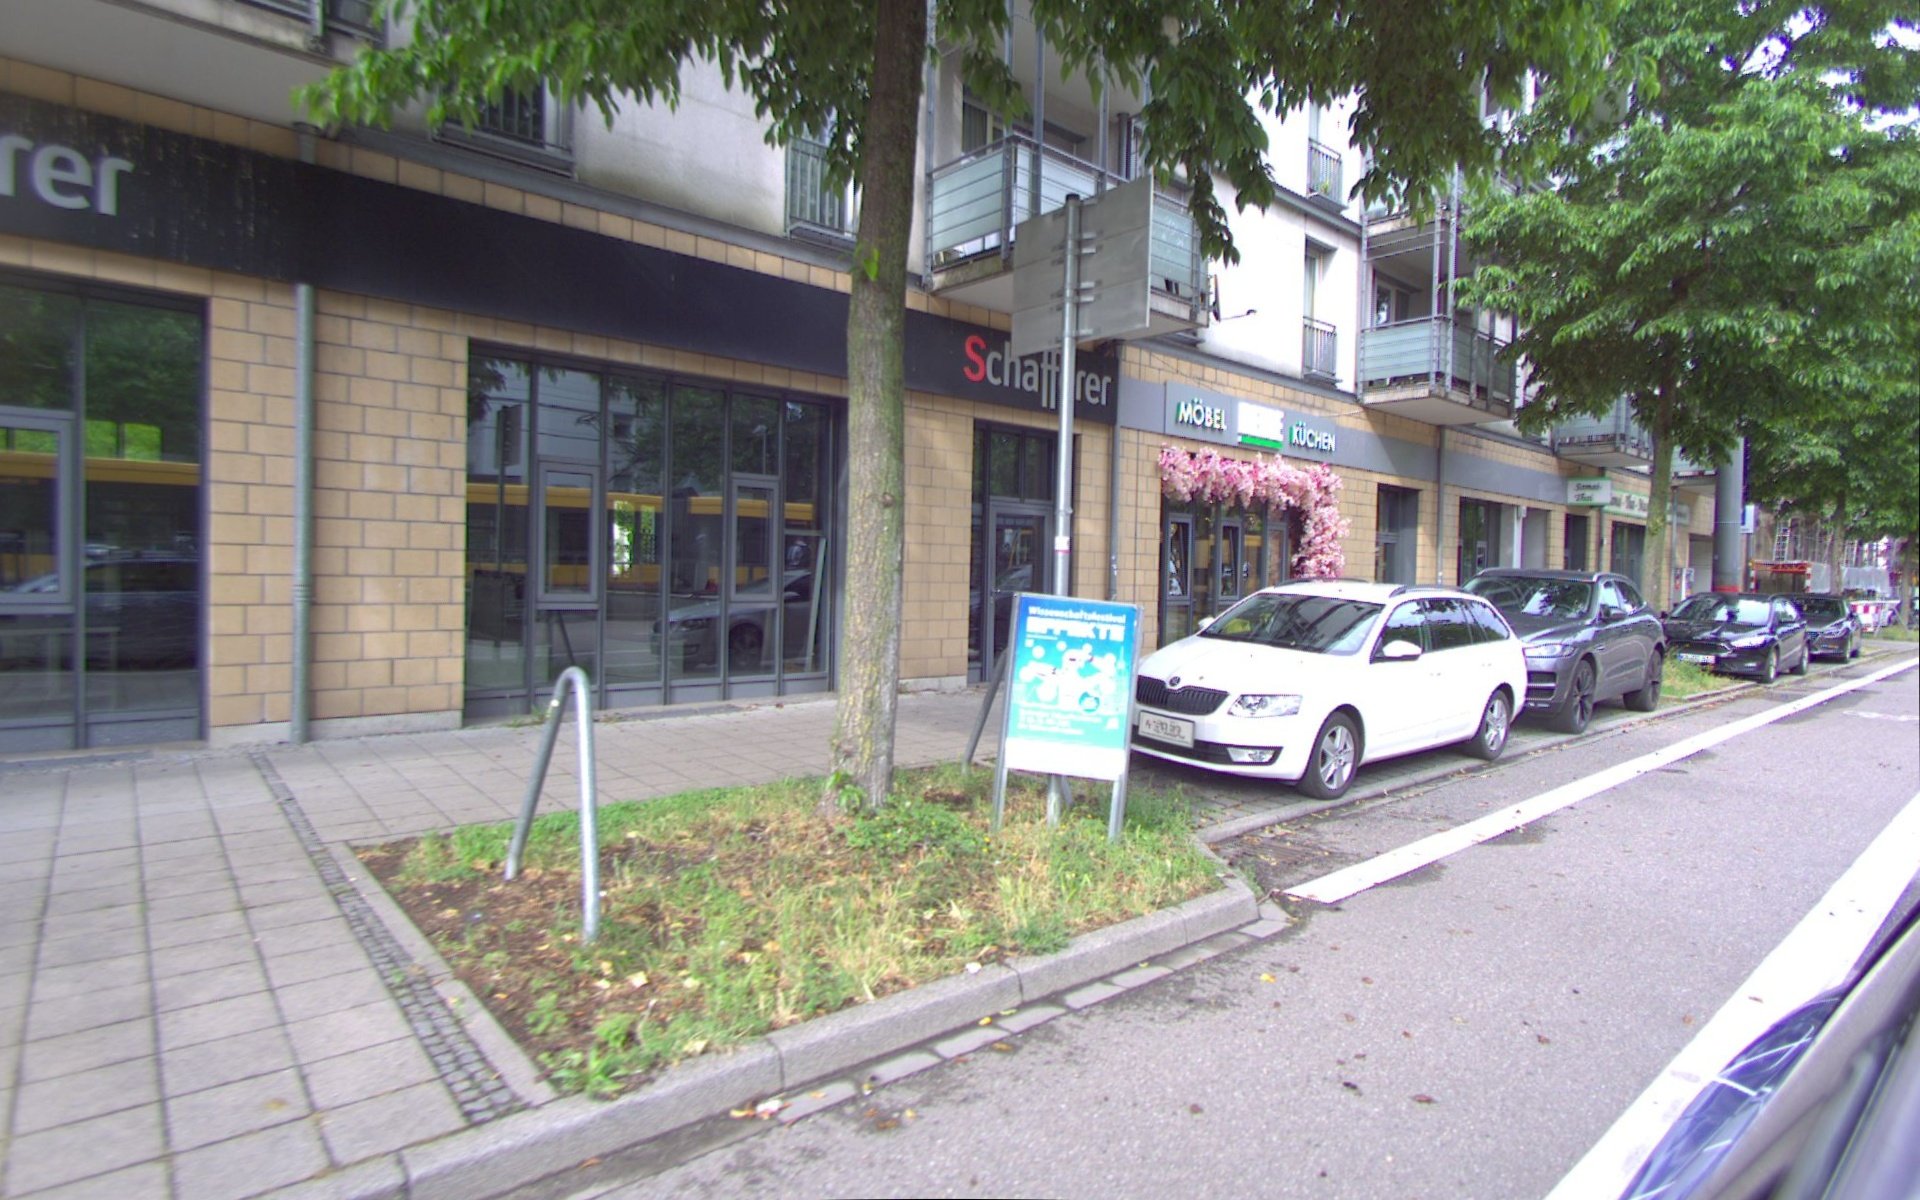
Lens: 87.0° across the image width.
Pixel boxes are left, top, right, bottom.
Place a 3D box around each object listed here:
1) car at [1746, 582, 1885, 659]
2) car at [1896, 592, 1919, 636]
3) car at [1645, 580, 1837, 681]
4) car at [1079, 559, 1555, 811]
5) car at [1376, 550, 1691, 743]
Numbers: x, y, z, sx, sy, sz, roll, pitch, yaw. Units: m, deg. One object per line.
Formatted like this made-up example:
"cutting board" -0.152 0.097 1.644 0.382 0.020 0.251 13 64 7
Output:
"car" 19.287 0.383 22.755 4.315 1.472 1.801 -1 5 -43
"car" 35.293 0.507 36.533 4.206 1.478 1.754 -1 4 -41
"car" 13.724 0.443 17.689 4.329 1.459 1.681 -1 4 -40
"car" 3.117 0.494 8.368 4.311 1.516 1.681 0 4 -40
"car" 6.728 0.380 11.624 4.631 1.737 1.715 -1 5 -42
